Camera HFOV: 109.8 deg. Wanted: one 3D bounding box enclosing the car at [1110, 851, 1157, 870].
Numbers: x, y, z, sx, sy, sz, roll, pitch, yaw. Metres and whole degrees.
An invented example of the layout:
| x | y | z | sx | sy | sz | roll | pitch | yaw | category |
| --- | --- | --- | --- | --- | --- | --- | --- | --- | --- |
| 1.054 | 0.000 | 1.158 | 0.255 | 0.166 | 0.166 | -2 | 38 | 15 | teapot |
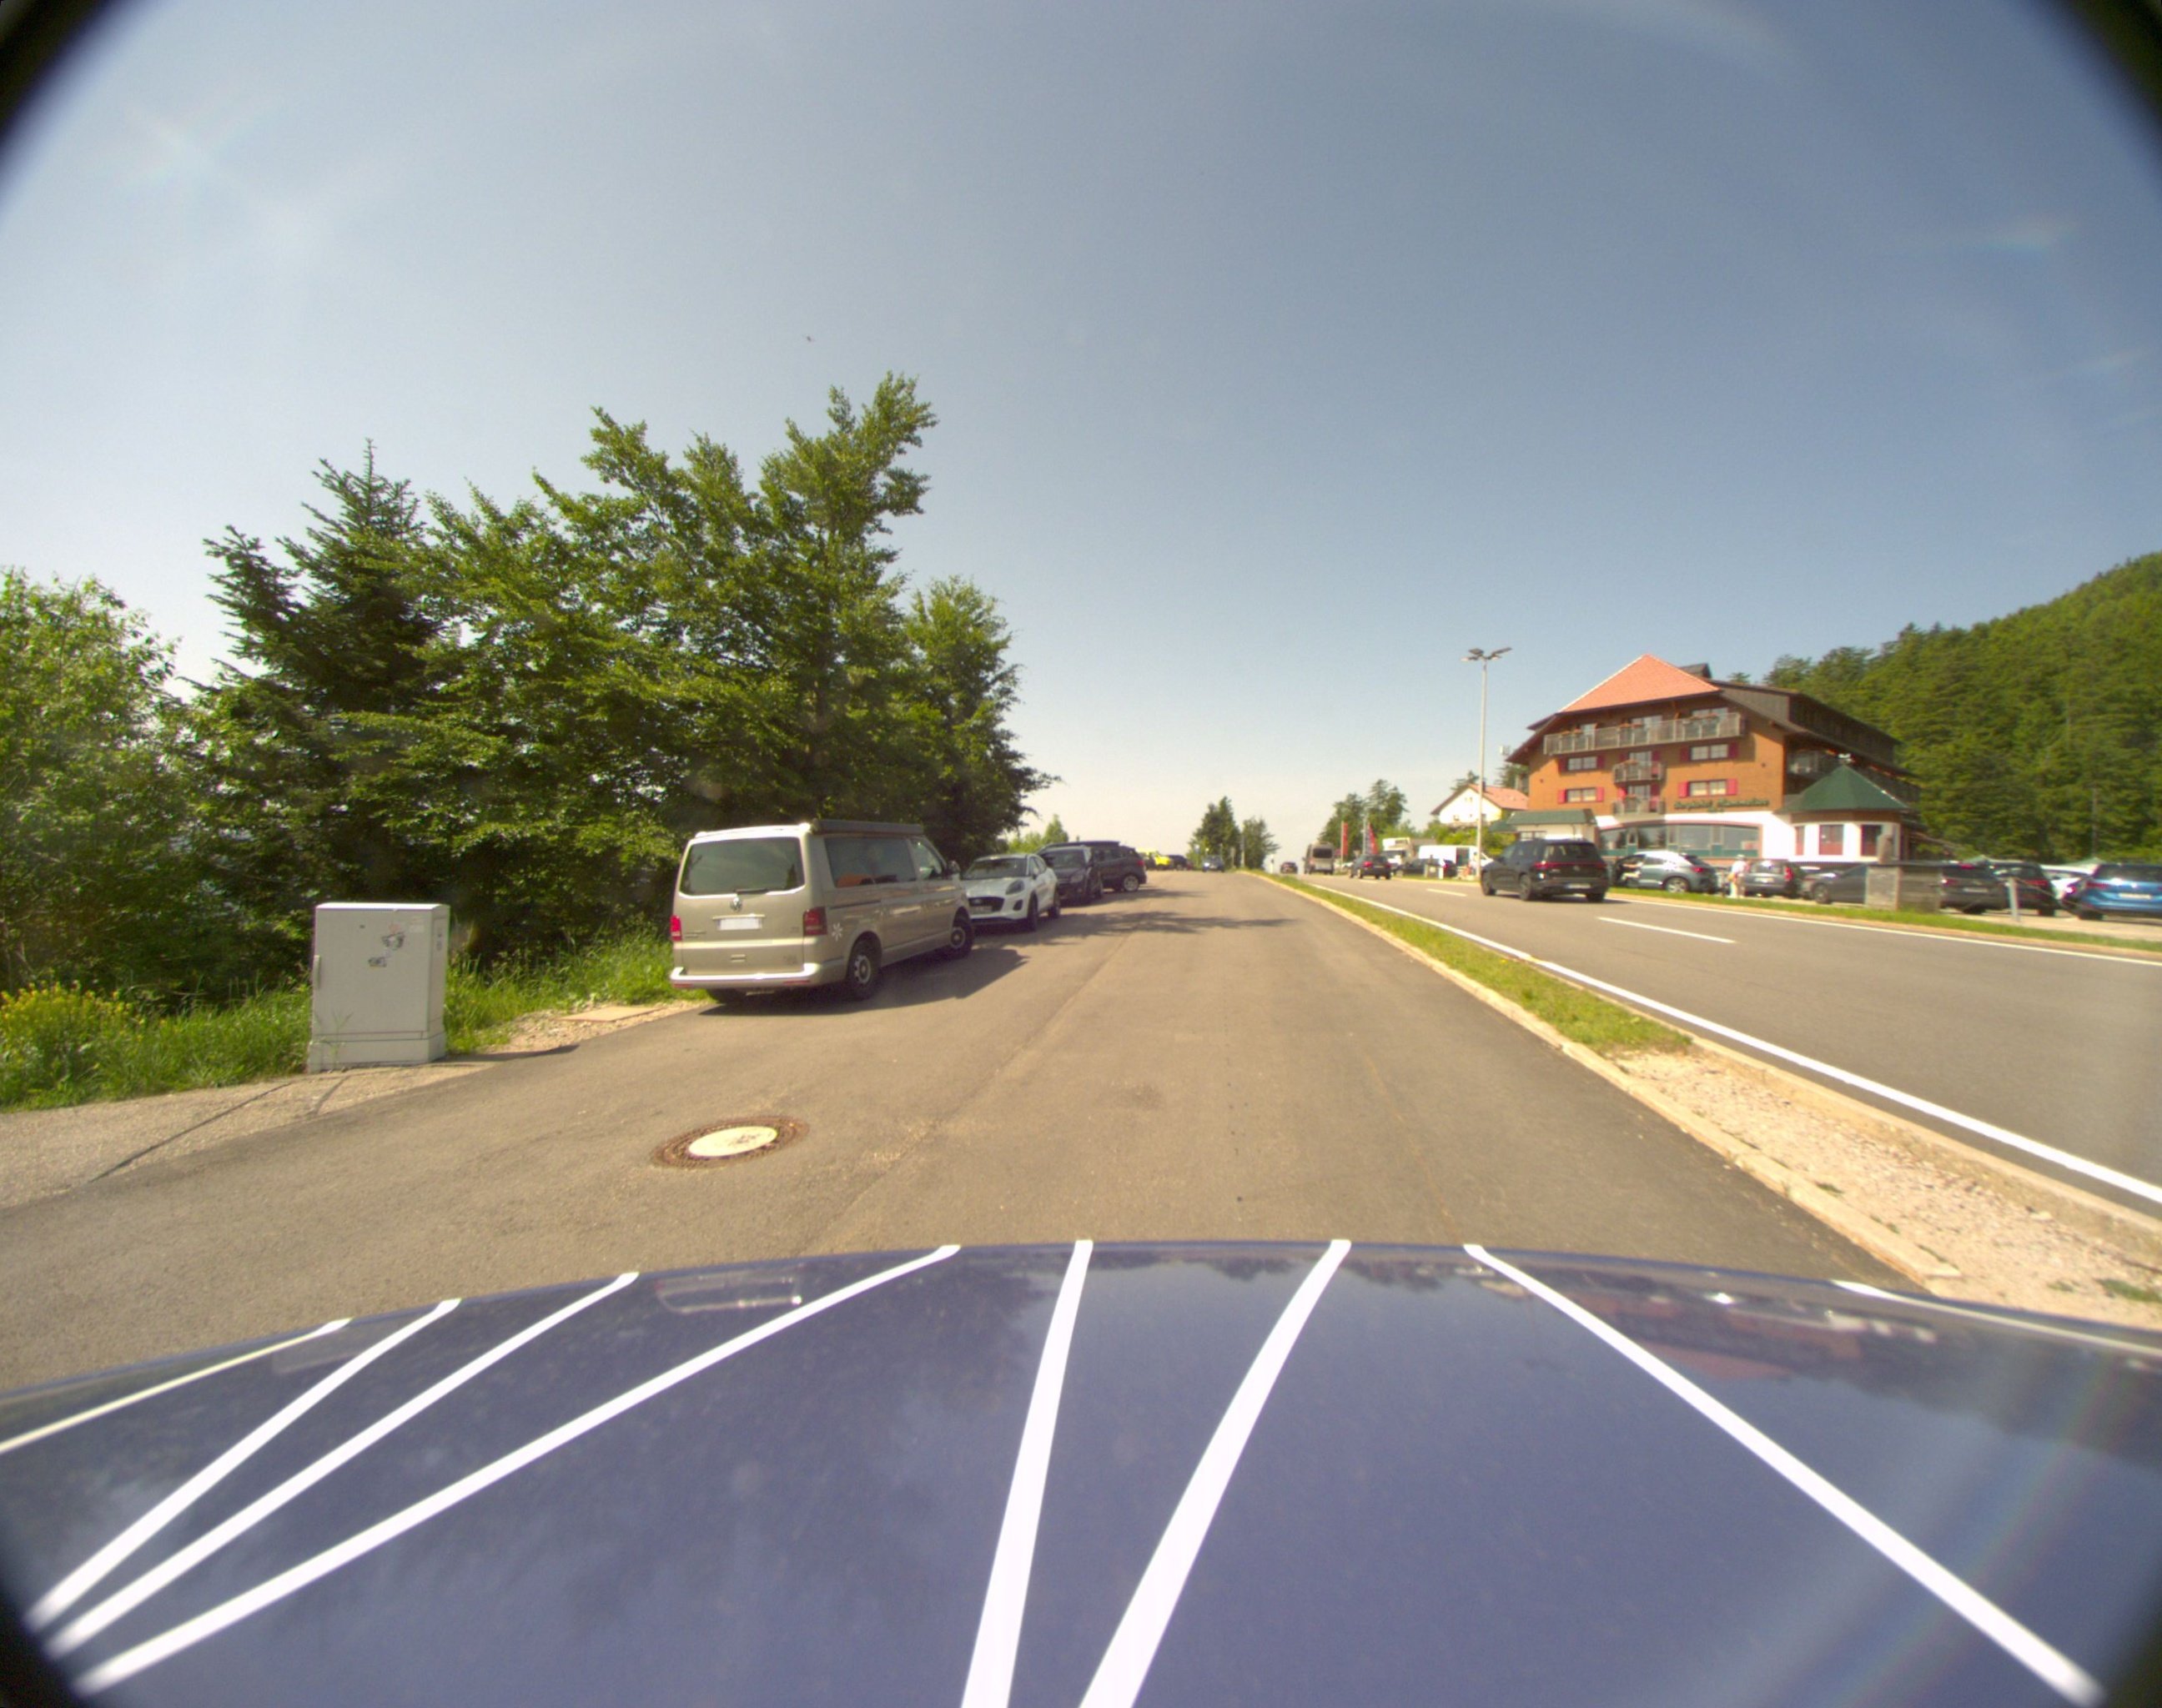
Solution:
| x | y | z | sx | sy | sz | roll | pitch | yaw | category |
| --- | --- | --- | --- | --- | --- | --- | --- | --- | --- |
| 4.640 | 0.553 | 67.324 | 3.906 | 1.605 | 1.878 | 1 | 1 | 12 | car |

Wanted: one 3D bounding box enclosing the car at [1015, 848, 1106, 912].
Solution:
| x | y | z | sx | sy | sz | roll | pitch | yaw | category |
| --- | --- | --- | --- | --- | --- | --- | --- | --- | --- |
| -0.489 | 0.667 | 22.011 | 1.874 | 1.609 | 4.002 | -3 | 0 | 8 | car |

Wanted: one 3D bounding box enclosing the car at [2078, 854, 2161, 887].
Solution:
| x | y | z | sx | sy | sz | roll | pitch | yaw | category |
| --- | --- | --- | --- | --- | --- | --- | --- | --- | --- |
| 58.204 | 0.906 | 41.753 | 1.924 | 1.706 | 4.083 | 0 | 1 | -37 | car |

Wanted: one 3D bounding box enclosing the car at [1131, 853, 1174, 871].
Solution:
| x | y | z | sx | sy | sz | roll | pitch | yaw | category |
| --- | --- | --- | --- | --- | --- | --- | --- | --- | --- |
| 6.905 | 0.762 | 72.970 | 3.906 | 1.605 | 1.878 | 1 | 1 | 12 | car |

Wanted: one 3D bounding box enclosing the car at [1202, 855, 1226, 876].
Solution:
| x | y | z | sx | sy | sz | roll | pitch | yaw | category |
| --- | --- | --- | --- | --- | --- | --- | --- | --- | --- |
| 10.902 | 0.894 | 62.329 | 1.873 | 1.605 | 3.915 | 1 | 1 | 9 | car |

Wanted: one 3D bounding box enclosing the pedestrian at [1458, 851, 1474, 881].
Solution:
| x | y | z | sx | sy | sz | roll | pitch | yaw | category |
| --- | --- | --- | --- | --- | --- | --- | --- | --- | --- |
| 26.404 | 0.810 | 52.122 | 0.716 | 2.002 | 0.803 | 0 | 1 | 8 | pedestrian |

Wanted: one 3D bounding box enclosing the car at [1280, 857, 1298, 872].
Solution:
| x | y | z | sx | sy | sz | roll | pitch | yaw | category |
| --- | --- | --- | --- | --- | --- | --- | --- | --- | --- |
| 25.275 | 1.234 | 92.466 | 1.719 | 1.672 | 4.133 | 1 | 1 | 9 | car |

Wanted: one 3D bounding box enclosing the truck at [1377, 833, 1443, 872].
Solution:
| x | y | z | sx | sy | sz | roll | pitch | yaw | category |
| --- | --- | --- | --- | --- | --- | --- | --- | --- | --- |
| 34.358 | -0.140 | 79.132 | 9.036 | 3.798 | 2.876 | 0 | -1 | -43 | truck |

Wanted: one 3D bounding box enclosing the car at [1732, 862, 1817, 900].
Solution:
| x | y | z | sx | sy | sz | roll | pitch | yaw | category |
| --- | --- | --- | --- | --- | --- | --- | --- | --- | --- |
| 29.779 | 1.105 | 32.586 | 4.103 | 1.504 | 1.819 | 0 | 1 | -35 | car |

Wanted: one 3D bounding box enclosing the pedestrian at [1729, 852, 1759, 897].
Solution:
| x | y | z | sx | sy | sz | roll | pitch | yaw | category |
| --- | --- | --- | --- | --- | --- | --- | --- | --- | --- |
| 24.089 | 0.738 | 27.618 | 0.744 | 1.615 | 0.685 | 2 | 2 | 39 | pedestrian |

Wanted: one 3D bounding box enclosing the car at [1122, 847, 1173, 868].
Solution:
| x | y | z | sx | sy | sz | roll | pitch | yaw | category |
| --- | --- | --- | --- | --- | --- | --- | --- | --- | --- |
| 6.139 | 0.305 | 69.826 | 4.452 | 1.914 | 1.878 | 1 | 1 | 11 | car |

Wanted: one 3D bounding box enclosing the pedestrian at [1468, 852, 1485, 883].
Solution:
| x | y | z | sx | sy | sz | roll | pitch | yaw | category |
| --- | --- | --- | --- | --- | --- | --- | --- | --- | --- |
| 25.896 | 0.869 | 49.732 | 0.716 | 2.002 | 0.803 | 0 | 1 | 8 | pedestrian |

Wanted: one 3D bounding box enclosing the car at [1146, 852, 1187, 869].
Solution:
| x | y | z | sx | sy | sz | roll | pitch | yaw | category |
| --- | --- | --- | --- | --- | --- | --- | --- | --- | --- |
| 8.509 | 0.667 | 75.579 | 3.906 | 1.605 | 1.878 | 1 | 1 | 12 | car |

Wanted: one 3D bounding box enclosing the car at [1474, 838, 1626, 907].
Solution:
| x | y | z | sx | sy | sz | roll | pitch | yaw | category |
| --- | --- | --- | --- | --- | --- | --- | --- | --- | --- |
| 12.513 | 0.425 | 20.675 | 1.997 | 1.638 | 4.570 | 1 | 1 | 11 | car |

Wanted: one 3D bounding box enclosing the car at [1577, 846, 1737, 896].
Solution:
| x | y | z | sx | sy | sz | roll | pitch | yaw | category |
| --- | --- | --- | --- | --- | --- | --- | --- | --- | --- |
| 20.818 | 0.549 | 27.600 | 1.828 | 1.619 | 4.258 | 0 | 1 | -38 | car |

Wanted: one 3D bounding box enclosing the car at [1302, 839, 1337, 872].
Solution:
| x | y | z | sx | sy | sz | roll | pitch | yaw | category |
| --- | --- | --- | --- | --- | --- | --- | --- | --- | --- |
| 20.501 | 0.078 | 65.519 | 2.015 | 2.735 | 5.921 | 1 | 1 | 10 | car |

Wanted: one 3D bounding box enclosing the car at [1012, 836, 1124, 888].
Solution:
| x | y | z | sx | sy | sz | roll | pitch | yaw | category |
| --- | --- | --- | --- | --- | --- | --- | --- | --- | --- |
| -0.588 | 0.322 | 32.579 | 4.461 | 1.914 | 1.875 | -3 | 1 | -10 | car |

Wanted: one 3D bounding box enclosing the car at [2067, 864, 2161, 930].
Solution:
| x | y | z | sx | sy | sz | roll | pitch | yaw | category |
| --- | --- | --- | --- | --- | --- | --- | --- | --- | --- |
| 28.780 | 1.108 | 20.897 | 4.103 | 1.619 | 1.819 | 0 | 1 | -35 | car |

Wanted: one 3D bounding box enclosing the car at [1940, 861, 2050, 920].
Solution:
| x | y | z | sx | sy | sz | roll | pitch | yaw | category |
| --- | --- | --- | --- | --- | --- | --- | --- | --- | --- |
| 28.403 | 1.068 | 23.583 | 4.103 | 1.619 | 1.819 | 0 | 1 | -35 | car |

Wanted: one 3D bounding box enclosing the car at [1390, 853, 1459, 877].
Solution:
| x | y | z | sx | sy | sz | roll | pitch | yaw | category |
| --- | --- | --- | --- | --- | --- | --- | --- | --- | --- |
| 24.549 | 0.747 | 54.390 | 1.828 | 1.518 | 4.082 | 0 | 1 | -42 | car |

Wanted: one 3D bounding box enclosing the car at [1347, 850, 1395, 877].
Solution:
| x | y | z | sx | sy | sz | roll | pitch | yaw | category |
| --- | --- | --- | --- | --- | --- | --- | --- | --- | --- |
| 16.837 | 0.532 | 44.308 | 1.709 | 1.429 | 4.453 | 1 | 1 | 9 | car |

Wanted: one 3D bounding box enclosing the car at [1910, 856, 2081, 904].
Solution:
| x | y | z | sx | sy | sz | roll | pitch | yaw | category |
| --- | --- | --- | --- | --- | --- | --- | --- | --- | --- |
| 35.161 | 0.926 | 29.328 | 1.828 | 1.619 | 4.082 | 0 | 1 | -38 | car |

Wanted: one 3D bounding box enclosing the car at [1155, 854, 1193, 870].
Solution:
| x | y | z | sx | sy | sz | roll | pitch | yaw | category |
| --- | --- | --- | --- | --- | --- | --- | --- | --- | --- |
| 10.021 | 0.827 | 82.088 | 3.906 | 1.605 | 1.878 | 1 | 1 | 12 | car |

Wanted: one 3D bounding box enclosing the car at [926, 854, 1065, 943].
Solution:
| x | y | z | sx | sy | sz | roll | pitch | yaw | category |
| --- | --- | --- | --- | --- | --- | --- | --- | --- | --- |
| -1.625 | 0.825 | 15.969 | 1.874 | 1.538 | 4.002 | -3 | 0 | 8 | car |

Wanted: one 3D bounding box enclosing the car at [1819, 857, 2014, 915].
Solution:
| x | y | z | sx | sy | sz | roll | pitch | yaw | category |
| --- | --- | --- | --- | --- | --- | --- | --- | --- | --- |
| 23.831 | 0.839 | 21.925 | 1.719 | 1.422 | 4.003 | 1 | 1 | 12 | car |

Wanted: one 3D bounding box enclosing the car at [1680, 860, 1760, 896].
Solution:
| x | y | z | sx | sy | sz | roll | pitch | yaw | category |
| --- | --- | --- | --- | --- | --- | --- | --- | --- | --- |
| 29.651 | 1.062 | 35.216 | 4.103 | 1.504 | 1.819 | 0 | 1 | -35 | car |

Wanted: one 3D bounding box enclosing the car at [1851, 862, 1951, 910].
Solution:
| x | y | z | sx | sy | sz | roll | pitch | yaw | category |
| --- | --- | --- | --- | --- | --- | --- | --- | --- | --- |
| 28.637 | 1.068 | 26.501 | 4.103 | 1.504 | 1.819 | 0 | 1 | -35 | car |

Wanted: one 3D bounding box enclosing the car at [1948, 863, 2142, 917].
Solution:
| x | y | z | sx | sy | sz | roll | pitch | yaw | category |
| --- | --- | --- | --- | --- | --- | --- | --- | --- | --- |
| 33.645 | 1.191 | 26.677 | 1.828 | 1.619 | 4.082 | 0 | 1 | -38 | car |

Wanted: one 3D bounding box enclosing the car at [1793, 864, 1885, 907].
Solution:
| x | y | z | sx | sy | sz | roll | pitch | yaw | category |
| --- | --- | --- | --- | --- | --- | --- | --- | --- | --- |
| 29.731 | 1.195 | 29.775 | 4.103 | 1.504 | 1.819 | 0 | 1 | -35 | car |

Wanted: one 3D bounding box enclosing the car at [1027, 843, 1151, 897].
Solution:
| x | y | z | sx | sy | sz | roll | pitch | yaw | category |
| --- | --- | --- | --- | --- | --- | --- | --- | --- | --- |
| 0.229 | 0.546 | 26.489 | 4.000 | 1.609 | 1.875 | -3 | 0 | -10 | car |

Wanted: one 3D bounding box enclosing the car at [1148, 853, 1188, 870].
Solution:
| x | y | z | sx | sy | sz | roll | pitch | yaw | category |
| --- | --- | --- | --- | --- | --- | --- | --- | --- | --- |
| 8.925 | 0.744 | 78.160 | 3.906 | 1.605 | 1.878 | 1 | 1 | 12 | car |

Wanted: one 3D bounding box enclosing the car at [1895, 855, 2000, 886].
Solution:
| x | y | z | sx | sy | sz | roll | pitch | yaw | category |
| --- | --- | --- | --- | --- | --- | --- | --- | --- | --- |
| 53.283 | 0.974 | 46.799 | 1.924 | 1.706 | 4.083 | 0 | 1 | -37 | car |

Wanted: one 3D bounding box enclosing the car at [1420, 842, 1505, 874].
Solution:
| x | y | z | sx | sy | sz | roll | pitch | yaw | category |
| --- | --- | --- | --- | --- | --- | --- | --- | --- | --- |
| 35.725 | 0.334 | 71.329 | 6.946 | 2.775 | 2.672 | 1 | 1 | 28 | car |

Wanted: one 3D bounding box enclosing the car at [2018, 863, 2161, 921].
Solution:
| x | y | z | sx | sy | sz | roll | pitch | yaw | category |
| --- | --- | --- | --- | --- | --- | --- | --- | --- | --- |
| 32.579 | 1.170 | 23.728 | 1.828 | 1.619 | 4.082 | 0 | 1 | -38 | car |

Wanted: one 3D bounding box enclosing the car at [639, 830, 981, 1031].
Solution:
| x | y | z | sx | sy | sz | roll | pitch | yaw | category |
| --- | --- | --- | --- | --- | --- | --- | --- | --- | --- |
| -3.008 | 0.758 | 9.742 | 1.860 | 1.924 | 4.613 | -3 | 0 | 12 | car |

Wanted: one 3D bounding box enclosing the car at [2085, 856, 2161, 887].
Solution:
| x | y | z | sx | sy | sz | roll | pitch | yaw | category |
| --- | --- | --- | --- | --- | --- | --- | --- | --- | --- |
| 61.833 | 1.040 | 43.719 | 1.924 | 1.706 | 4.832 | 0 | 1 | -37 | car |
